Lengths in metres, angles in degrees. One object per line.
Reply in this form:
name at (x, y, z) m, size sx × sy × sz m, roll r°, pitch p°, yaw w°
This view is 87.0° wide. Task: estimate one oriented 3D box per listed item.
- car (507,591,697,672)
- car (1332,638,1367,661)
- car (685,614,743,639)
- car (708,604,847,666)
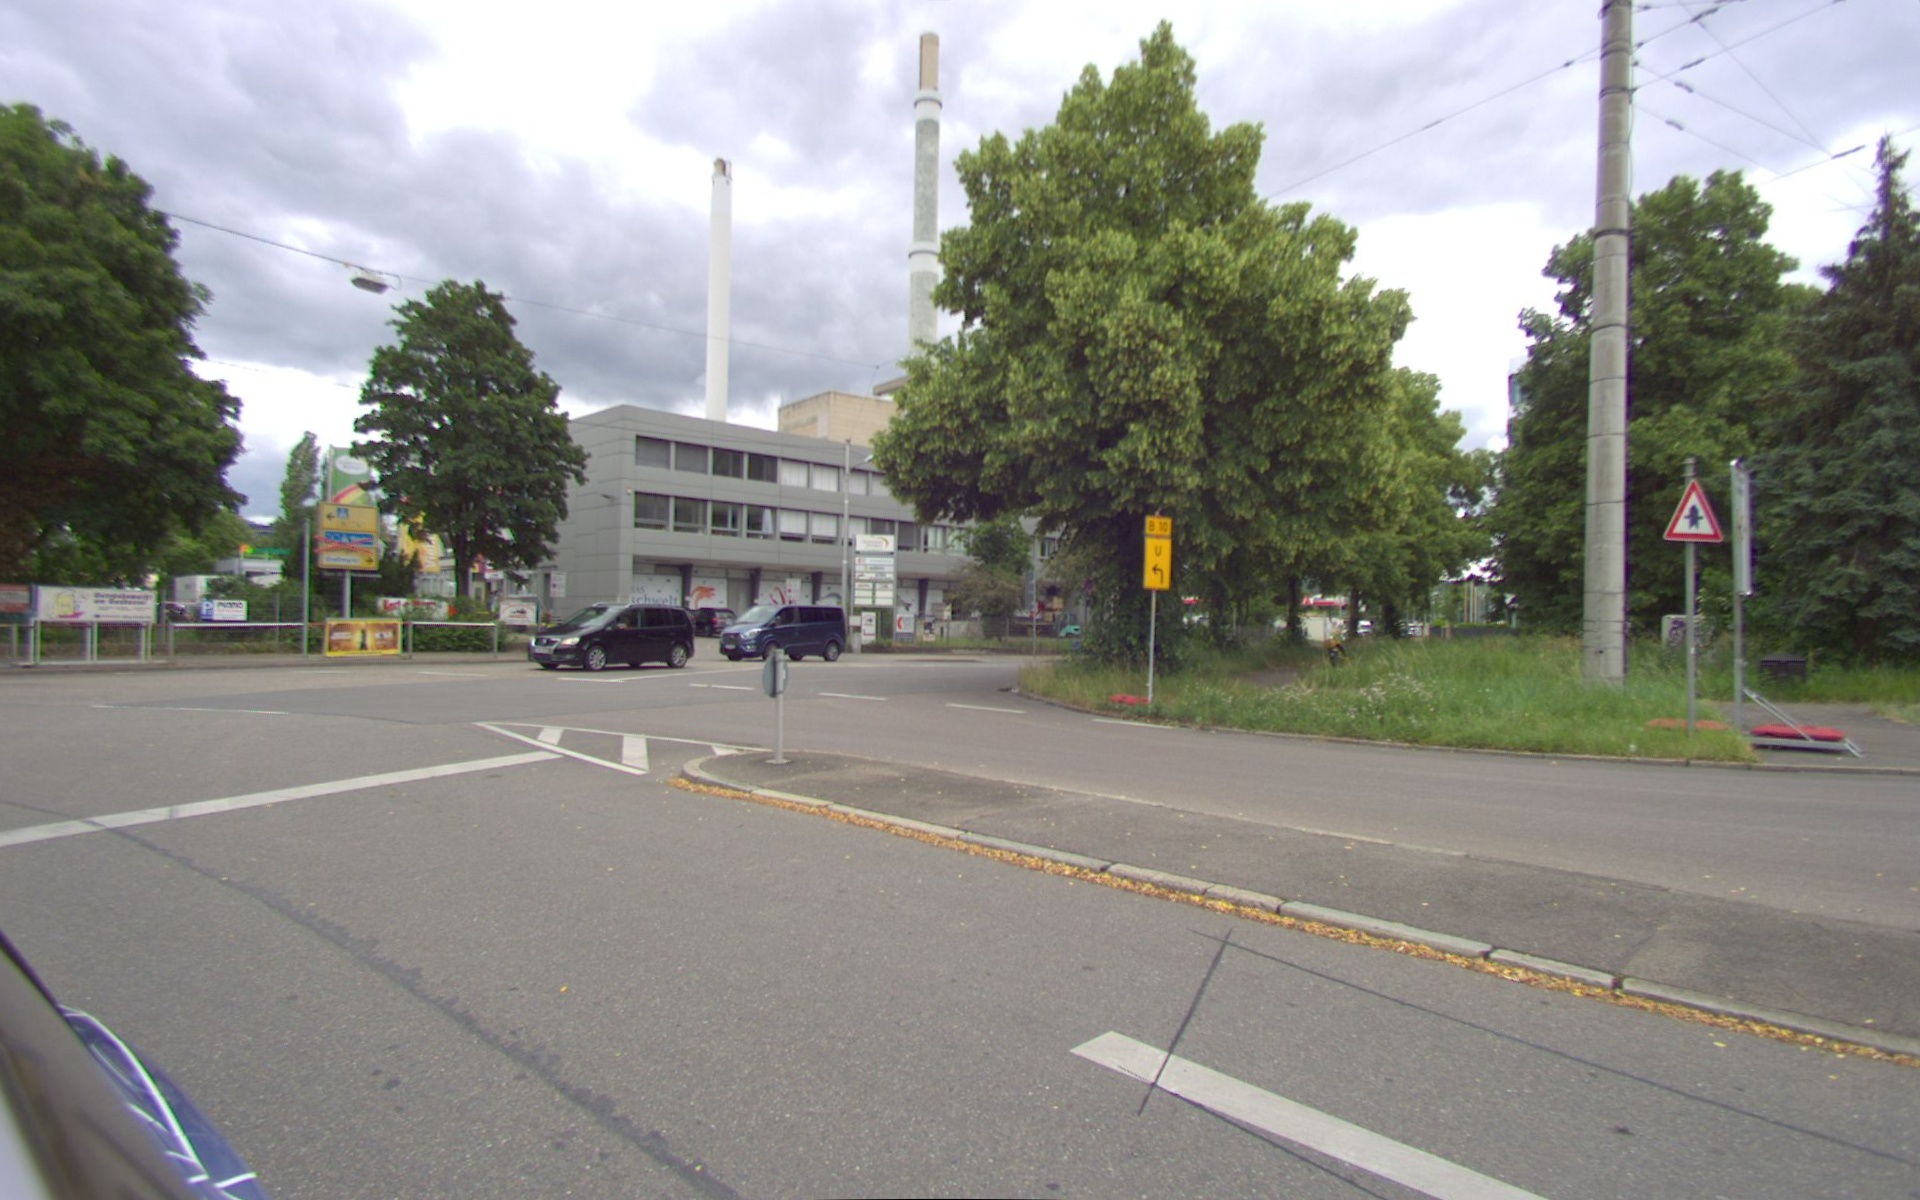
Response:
car at (-8.625, 0.821, 24.745) m, size 1.825 × 1.785 × 4.188 m, roll 0°, pitch -3°, yaw 29°
car at (35.860, 4.504, 93.053) m, size 1.830 × 1.959 × 4.513 m, roll -1°, pitch -2°, yaw 37°
car at (-13.826, 1.470, 56.792) m, size 1.750 × 1.187 × 3.579 m, roll -2°, pitch 3°, yaw -40°
car at (-6.180, 1.184, 34.807) m, size 1.830 × 1.959 × 4.742 m, roll -1°, pitch -2°, yaw 37°
